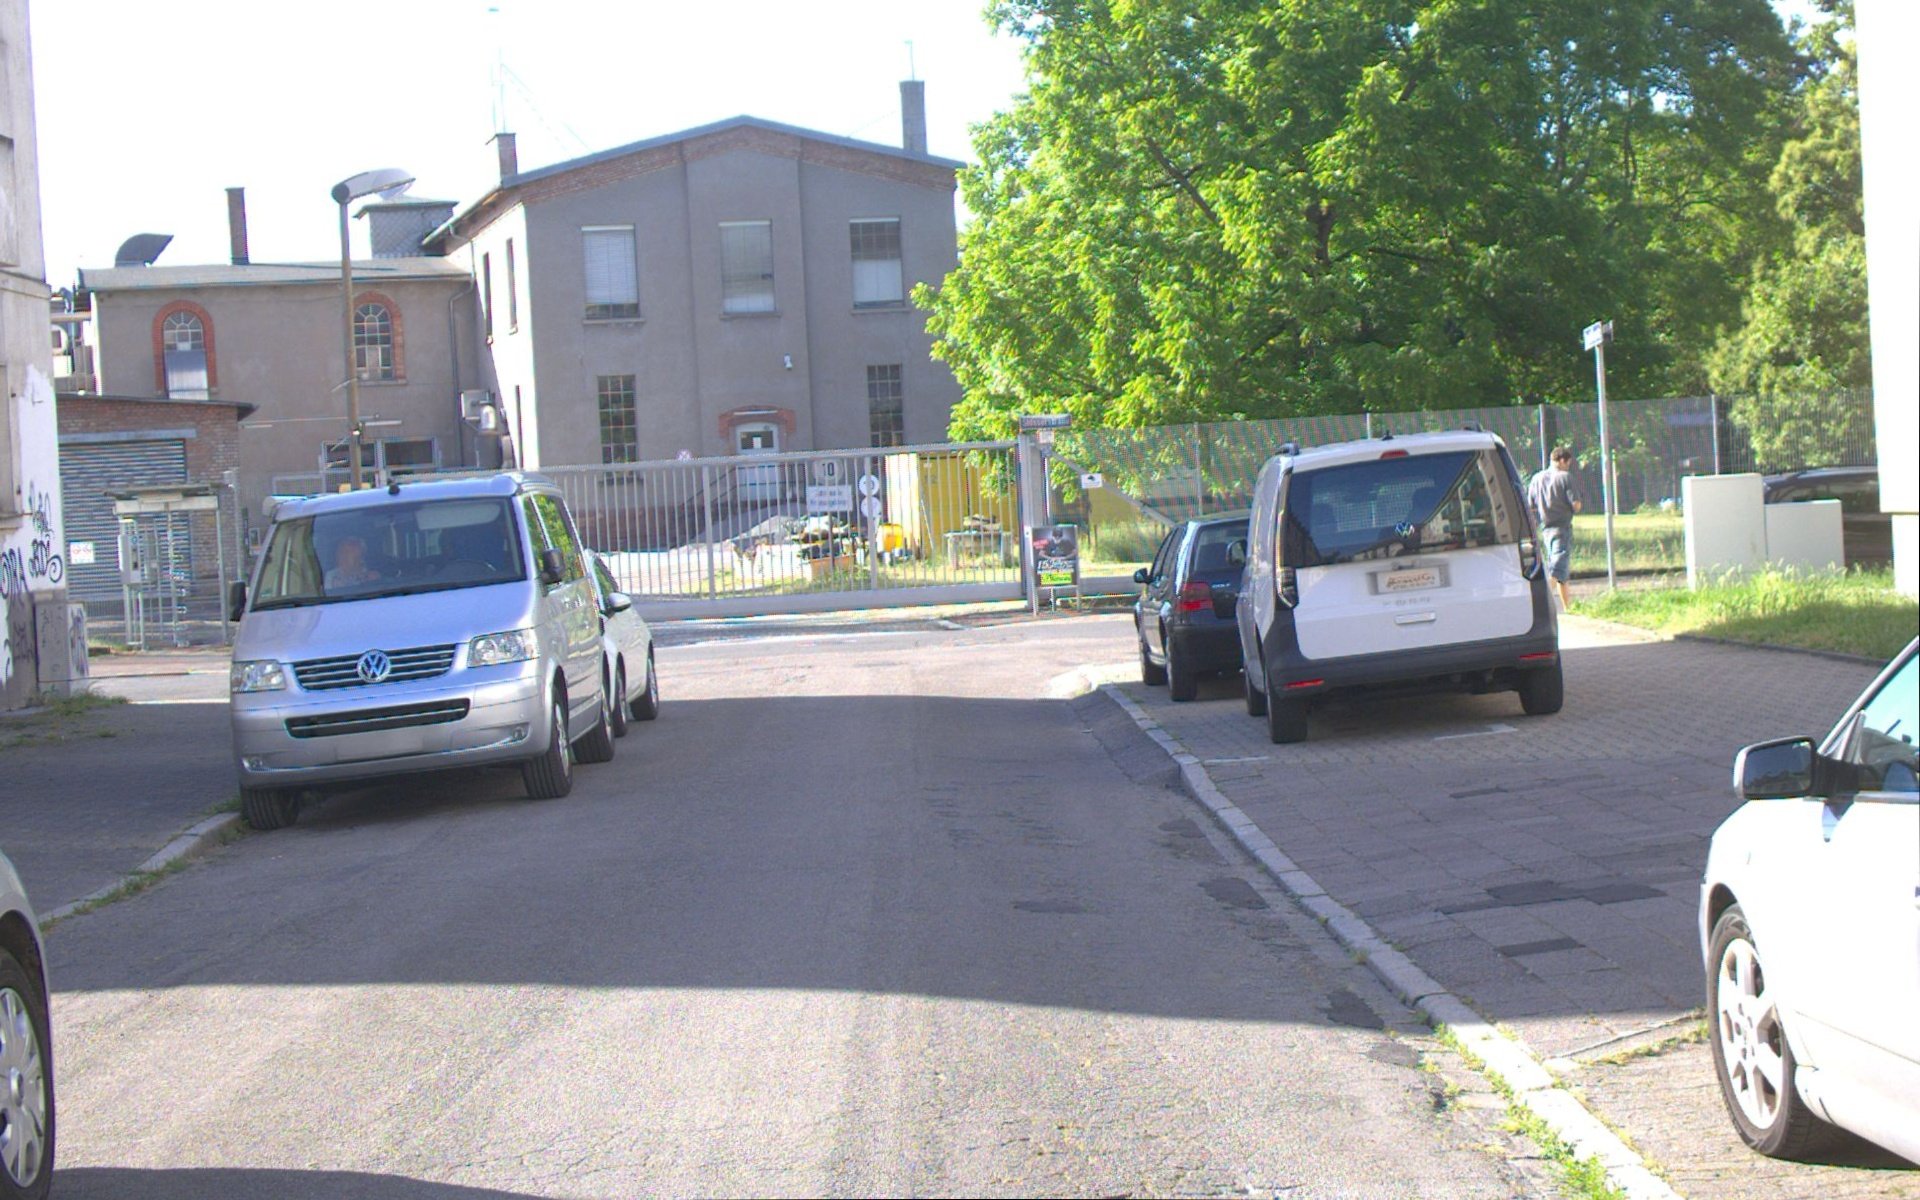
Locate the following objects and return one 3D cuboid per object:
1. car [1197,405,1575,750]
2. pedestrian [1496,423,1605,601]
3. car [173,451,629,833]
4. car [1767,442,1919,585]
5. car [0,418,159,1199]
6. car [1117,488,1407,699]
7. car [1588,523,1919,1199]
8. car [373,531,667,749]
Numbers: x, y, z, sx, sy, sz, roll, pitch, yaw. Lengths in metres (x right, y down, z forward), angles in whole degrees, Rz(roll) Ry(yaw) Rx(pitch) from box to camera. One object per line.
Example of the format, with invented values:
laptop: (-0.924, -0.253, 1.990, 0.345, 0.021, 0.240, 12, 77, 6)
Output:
car: (2.651, -0.181, 22.401, 1.798, 1.839, 4.539, -6, 1, 1)
pedestrian: (6.056, -0.899, 35.242, 0.839, 1.765, 0.647, -5, 2, -43)
car: (-3.301, 0.186, 21.305, 1.951, 1.926, 4.857, -5, 1, -1)
car: (11.525, -1.058, 39.438, 4.071, 1.543, 1.623, -3, 1, -2)
car: (-2.920, 0.635, 5.810, 1.800, 1.823, 4.949, -6, 1, 0)
car: (2.377, -0.086, 27.990, 1.797, 1.410, 4.049, -6, 1, -1)
car: (2.570, 0.540, 6.461, 1.742, 1.402, 4.314, -5, 1, -2)
car: (-3.391, 0.256, 27.089, 1.687, 1.454, 3.721, -5, 1, 1)
